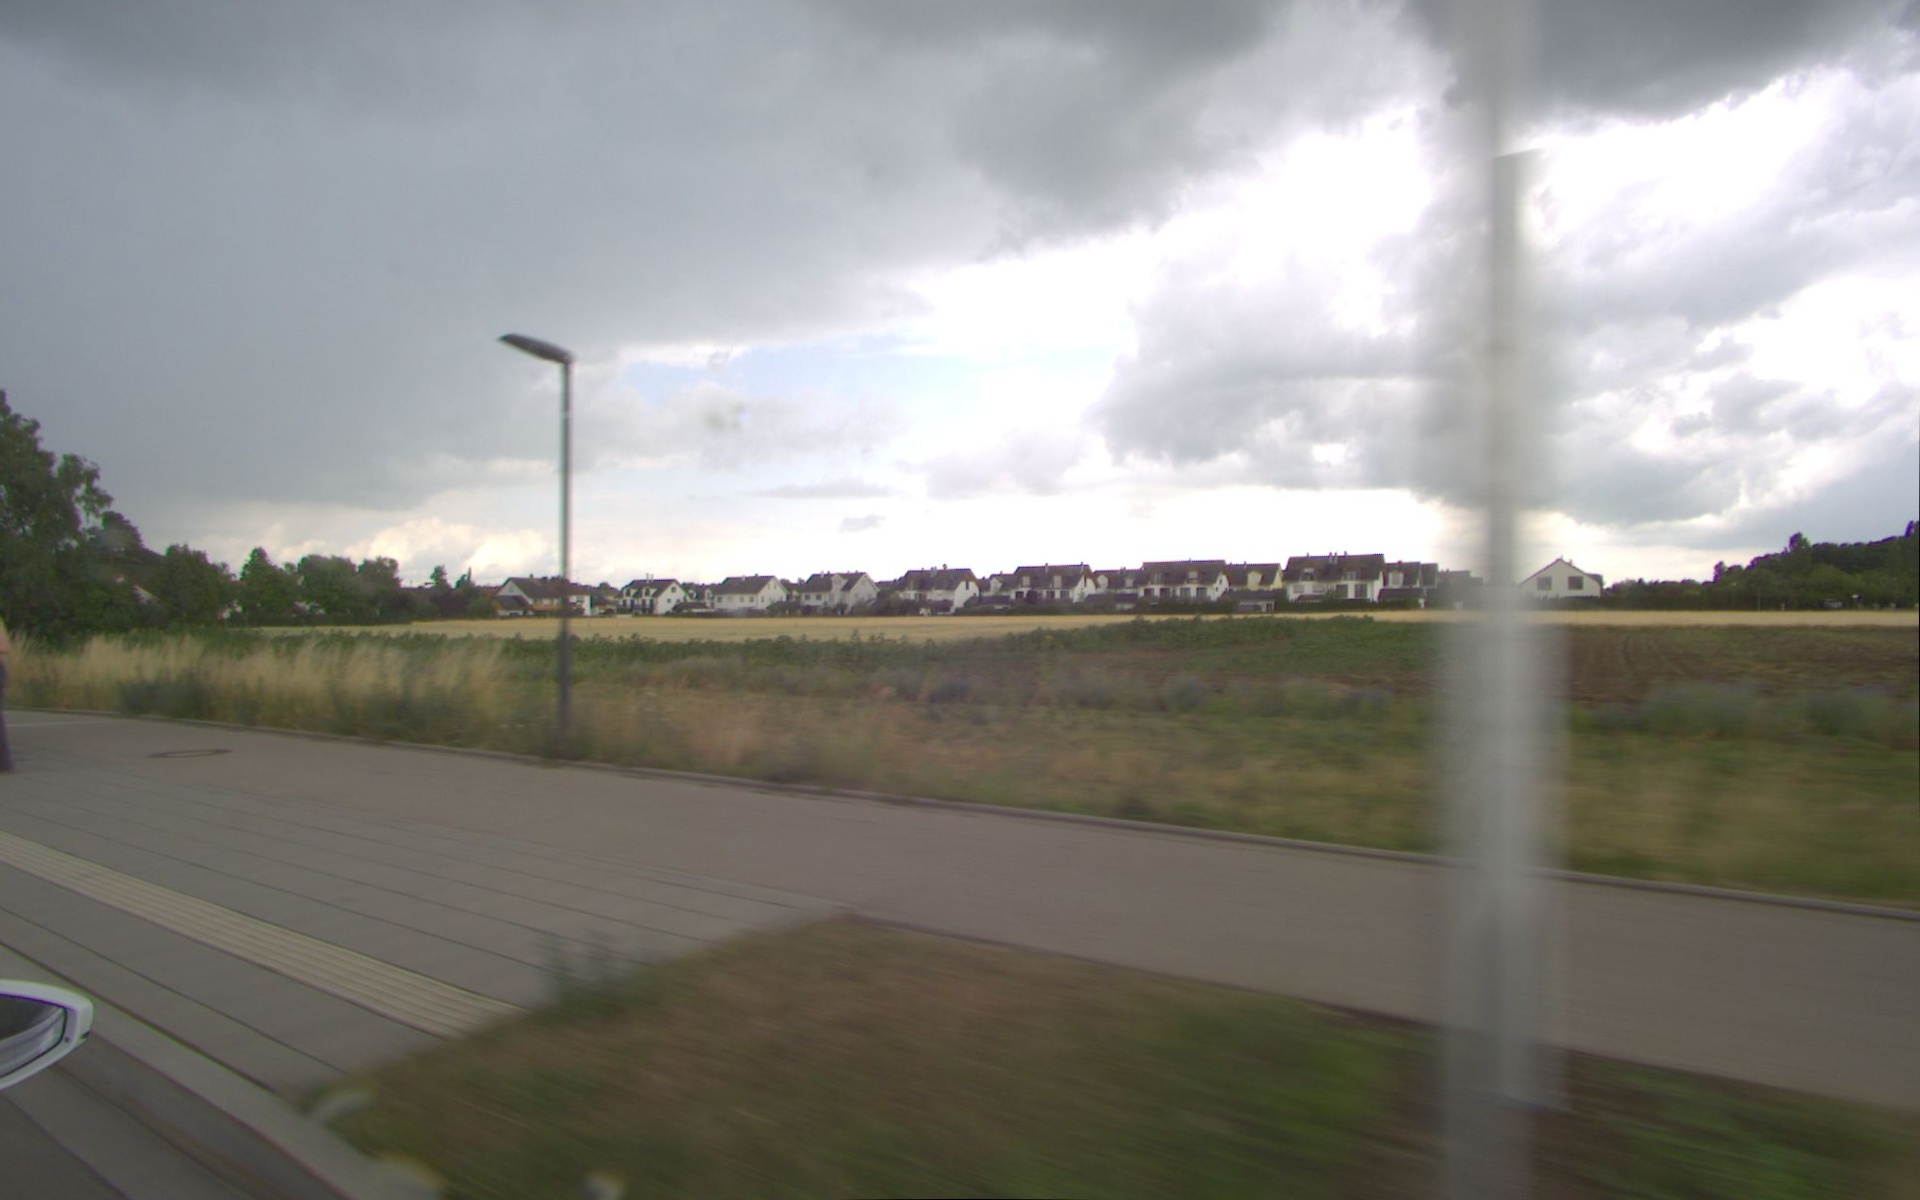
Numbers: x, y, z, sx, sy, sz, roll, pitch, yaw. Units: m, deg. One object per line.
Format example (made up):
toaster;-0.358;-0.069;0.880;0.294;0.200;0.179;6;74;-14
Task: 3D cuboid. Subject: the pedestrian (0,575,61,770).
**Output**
pedestrian;-9.303;0.680;9.527;0.764;1.815;0.783;0;-2;9
